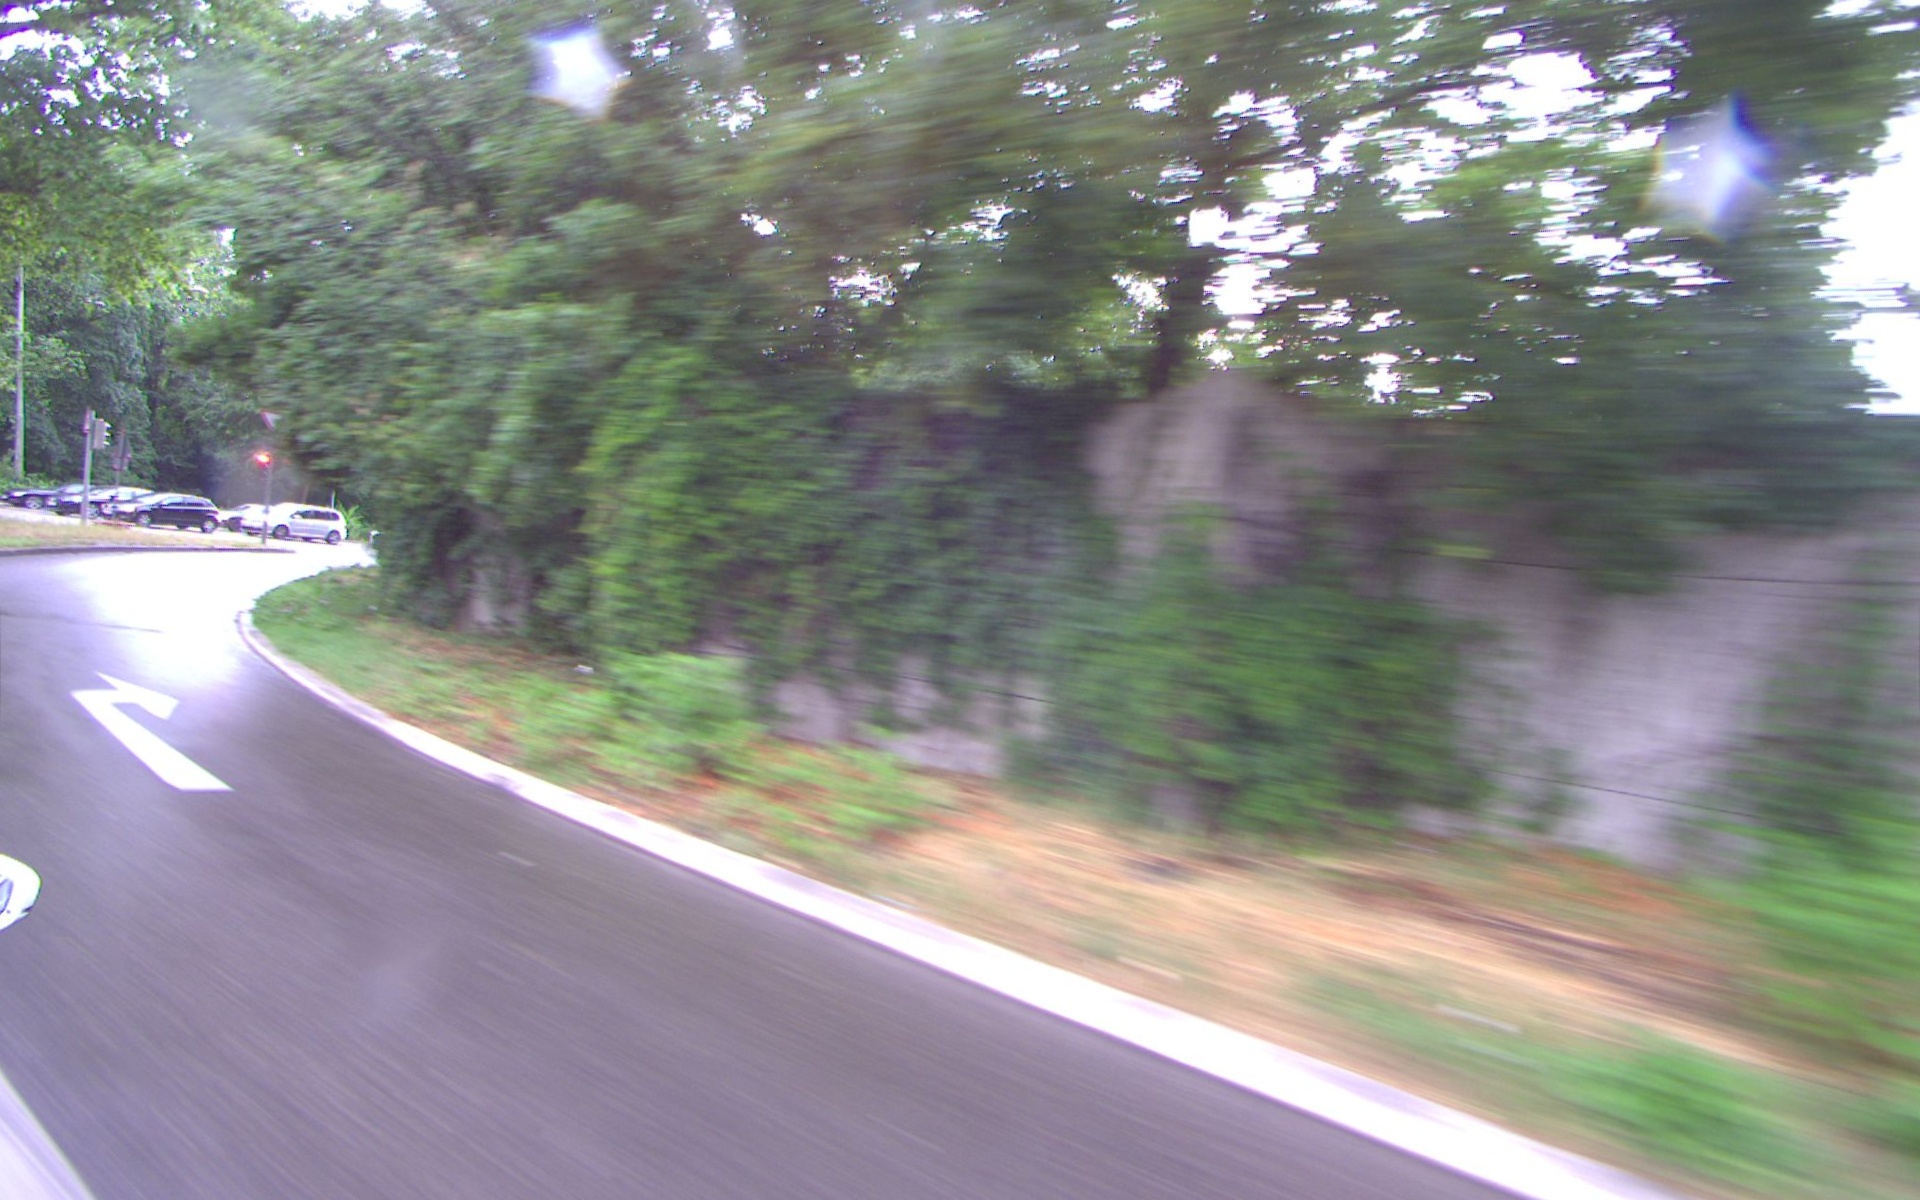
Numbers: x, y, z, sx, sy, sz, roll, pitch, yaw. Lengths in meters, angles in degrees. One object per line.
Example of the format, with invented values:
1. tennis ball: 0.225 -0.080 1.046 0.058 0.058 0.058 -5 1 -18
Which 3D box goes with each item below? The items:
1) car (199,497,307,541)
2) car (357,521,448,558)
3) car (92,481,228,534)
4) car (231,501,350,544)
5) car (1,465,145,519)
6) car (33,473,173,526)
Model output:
1. car: -32.993 -3.762 47.082 1.712 1.505 3.836 7 1 14
2. car: -28.765 -3.097 52.033 1.740 1.506 3.997 6 2 14
3. car: -31.607 -3.627 39.869 1.641 1.504 3.866 7 0 19
4. car: -30.256 -3.475 45.613 1.741 1.506 4.269 7 2 19
5. car: -39.870 -4.825 45.349 2.097 1.860 4.346 7 2 23
6. car: -35.154 -4.081 41.404 1.843 1.504 4.001 7 0 14
